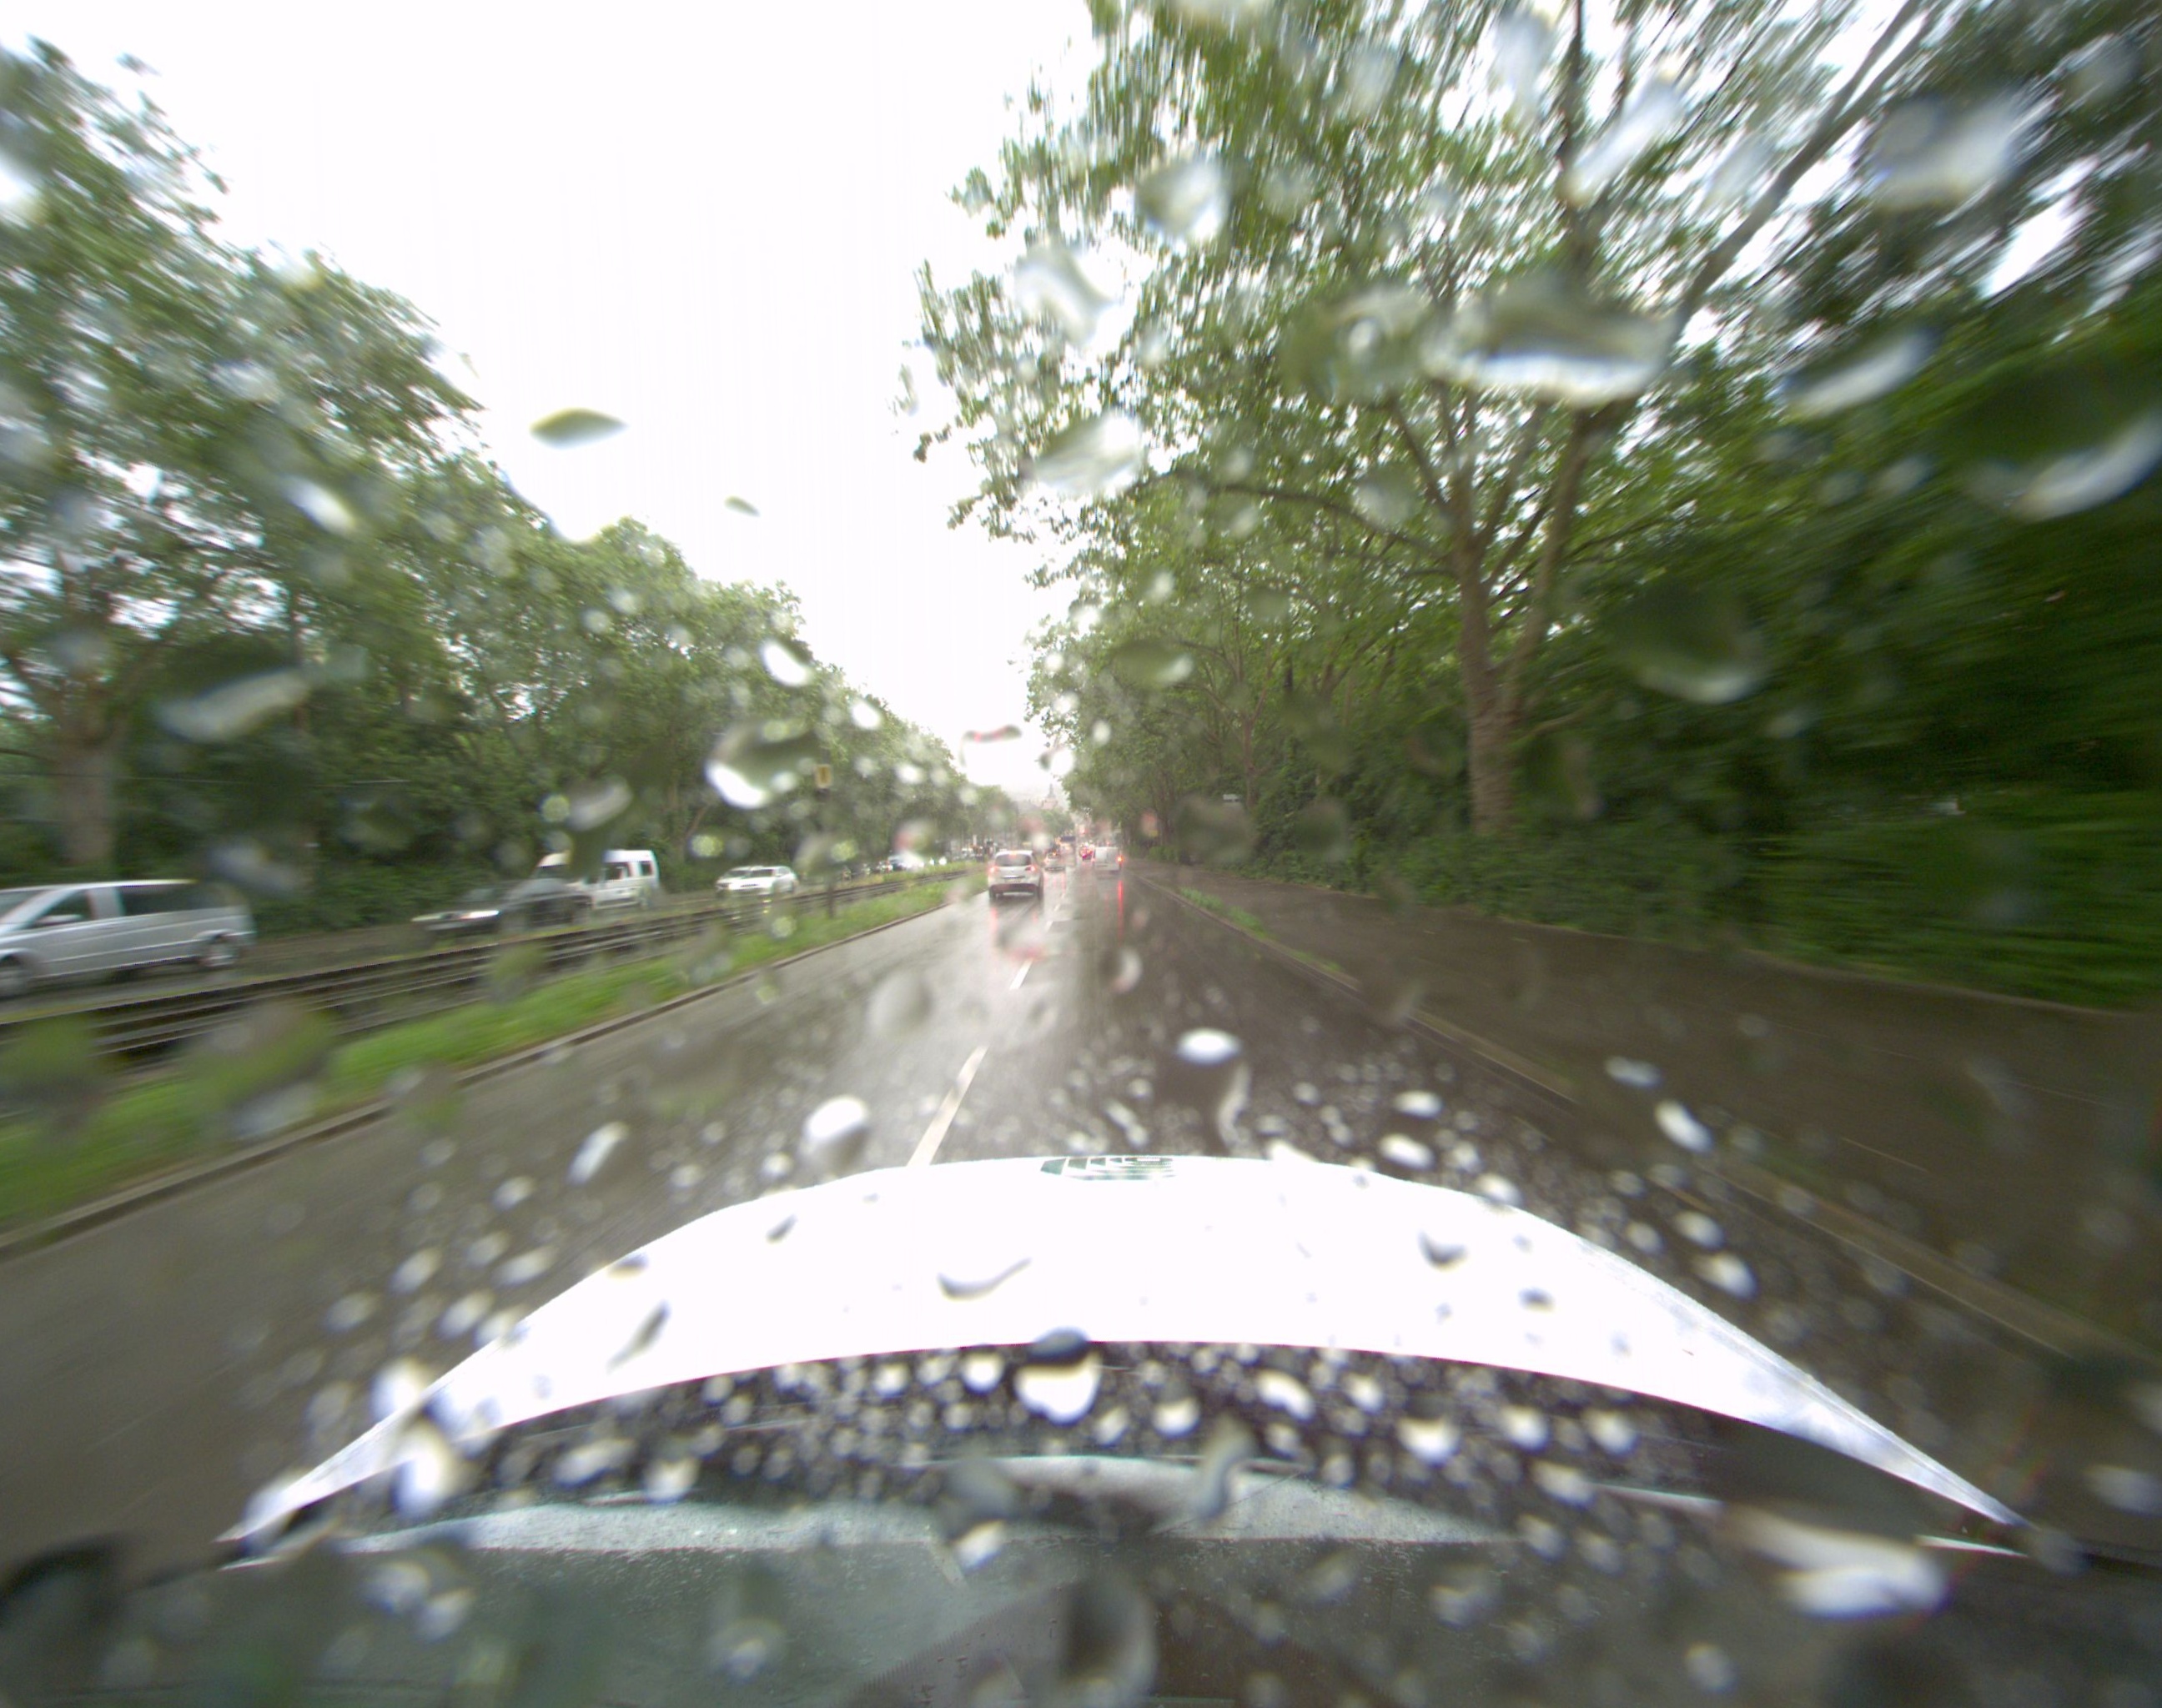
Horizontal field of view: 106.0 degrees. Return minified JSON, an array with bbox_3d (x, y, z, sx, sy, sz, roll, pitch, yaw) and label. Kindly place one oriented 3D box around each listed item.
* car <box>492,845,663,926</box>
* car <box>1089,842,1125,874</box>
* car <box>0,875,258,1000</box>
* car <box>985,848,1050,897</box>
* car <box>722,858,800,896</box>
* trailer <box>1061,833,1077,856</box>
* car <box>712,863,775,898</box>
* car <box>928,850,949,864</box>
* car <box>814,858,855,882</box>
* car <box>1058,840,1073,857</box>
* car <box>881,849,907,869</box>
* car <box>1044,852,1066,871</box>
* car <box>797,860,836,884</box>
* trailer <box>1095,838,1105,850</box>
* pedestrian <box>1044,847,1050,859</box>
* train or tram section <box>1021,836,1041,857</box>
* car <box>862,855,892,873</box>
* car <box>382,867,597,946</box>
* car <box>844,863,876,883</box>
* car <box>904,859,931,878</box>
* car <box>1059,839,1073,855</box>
[{"bbox_3d":[-18.466,1.044,30.429,2.384,2.540,6.560,-3,0,-3],"label":"car"},{"bbox_3d":[1.484,0.236,48.249,1.953,1.777,3.568,-1,0,-1],"label":"car"},{"bbox_3d":[-18.148,1.430,14.629,1.951,1.862,4.638,-3,0,-1],"label":"car"},{"bbox_3d":[-2.235,0.604,29.626,1.858,1.623,4.264,-1,0,2],"label":"car"},{"bbox_3d":[-15.331,1.058,39.317,1.973,1.566,4.764,-3,0,-2],"label":"car"},{"bbox_3d":[-2.138,-1.636,140.276,2.583,3.899,7.631,-1,1,-2],"label":"trailer"},{"bbox_3d":[-18.796,1.425,45.601,1.746,1.728,4.527,-3,0,-3],"label":"car"},{"bbox_3d":[-18.382,0.375,105.122,2.027,1.751,4.689,-3,0,-3],"label":"car"},{"bbox_3d":[-20.412,1.270,67.635,2.027,1.751,4.689,-3,0,-3],"label":"car"},{"bbox_3d":[-2.473,-0.893,130.736,2.322,2.557,6.112,-1,0,0],"label":"car"},{"bbox_3d":[-21.362,0.579,93.242,2.028,2.092,4.796,-3,0,-4],"label":"car"},{"bbox_3d":[-2.191,0.616,68.158,1.720,1.479,3.804,-1,0,-1],"label":"car"},{"bbox_3d":[-20.310,1.365,62.691,1.757,1.648,3.809,-3,0,-3],"label":"car"},{"bbox_3d":[4.179,-2.158,178.372,1.988,2.317,4.666,-1,0,-1],"label":"trailer"},{"bbox_3d":[-4.679,-0.170,112.817,0.788,1.714,0.770,0,-1,-2],"label":"pedestrian"},{"bbox_3d":[-8.462,-1.300,138.781,2.953,3.285,8.356,-3,1,-1],"label":"train or tram section"},{"bbox_3d":[-20.644,0.979,82.630,2.027,1.657,4.605,-1,0,-3],"label":"car"},{"bbox_3d":[-14.600,1.209,20.510,2.027,1.552,4.564,-3,0,-1],"label":"car"},{"bbox_3d":[-20.478,1.742,75.577,2.028,1.657,4.603,-2,0,-5],"label":"car"},{"bbox_3d":[-17.143,1.478,85.564,2.027,1.751,4.255,-3,0,-3],"label":"car"},{"bbox_3d":[-2.200,-1.022,121.167,1.987,2.262,5.287,-1,0,0],"label":"car"}]
